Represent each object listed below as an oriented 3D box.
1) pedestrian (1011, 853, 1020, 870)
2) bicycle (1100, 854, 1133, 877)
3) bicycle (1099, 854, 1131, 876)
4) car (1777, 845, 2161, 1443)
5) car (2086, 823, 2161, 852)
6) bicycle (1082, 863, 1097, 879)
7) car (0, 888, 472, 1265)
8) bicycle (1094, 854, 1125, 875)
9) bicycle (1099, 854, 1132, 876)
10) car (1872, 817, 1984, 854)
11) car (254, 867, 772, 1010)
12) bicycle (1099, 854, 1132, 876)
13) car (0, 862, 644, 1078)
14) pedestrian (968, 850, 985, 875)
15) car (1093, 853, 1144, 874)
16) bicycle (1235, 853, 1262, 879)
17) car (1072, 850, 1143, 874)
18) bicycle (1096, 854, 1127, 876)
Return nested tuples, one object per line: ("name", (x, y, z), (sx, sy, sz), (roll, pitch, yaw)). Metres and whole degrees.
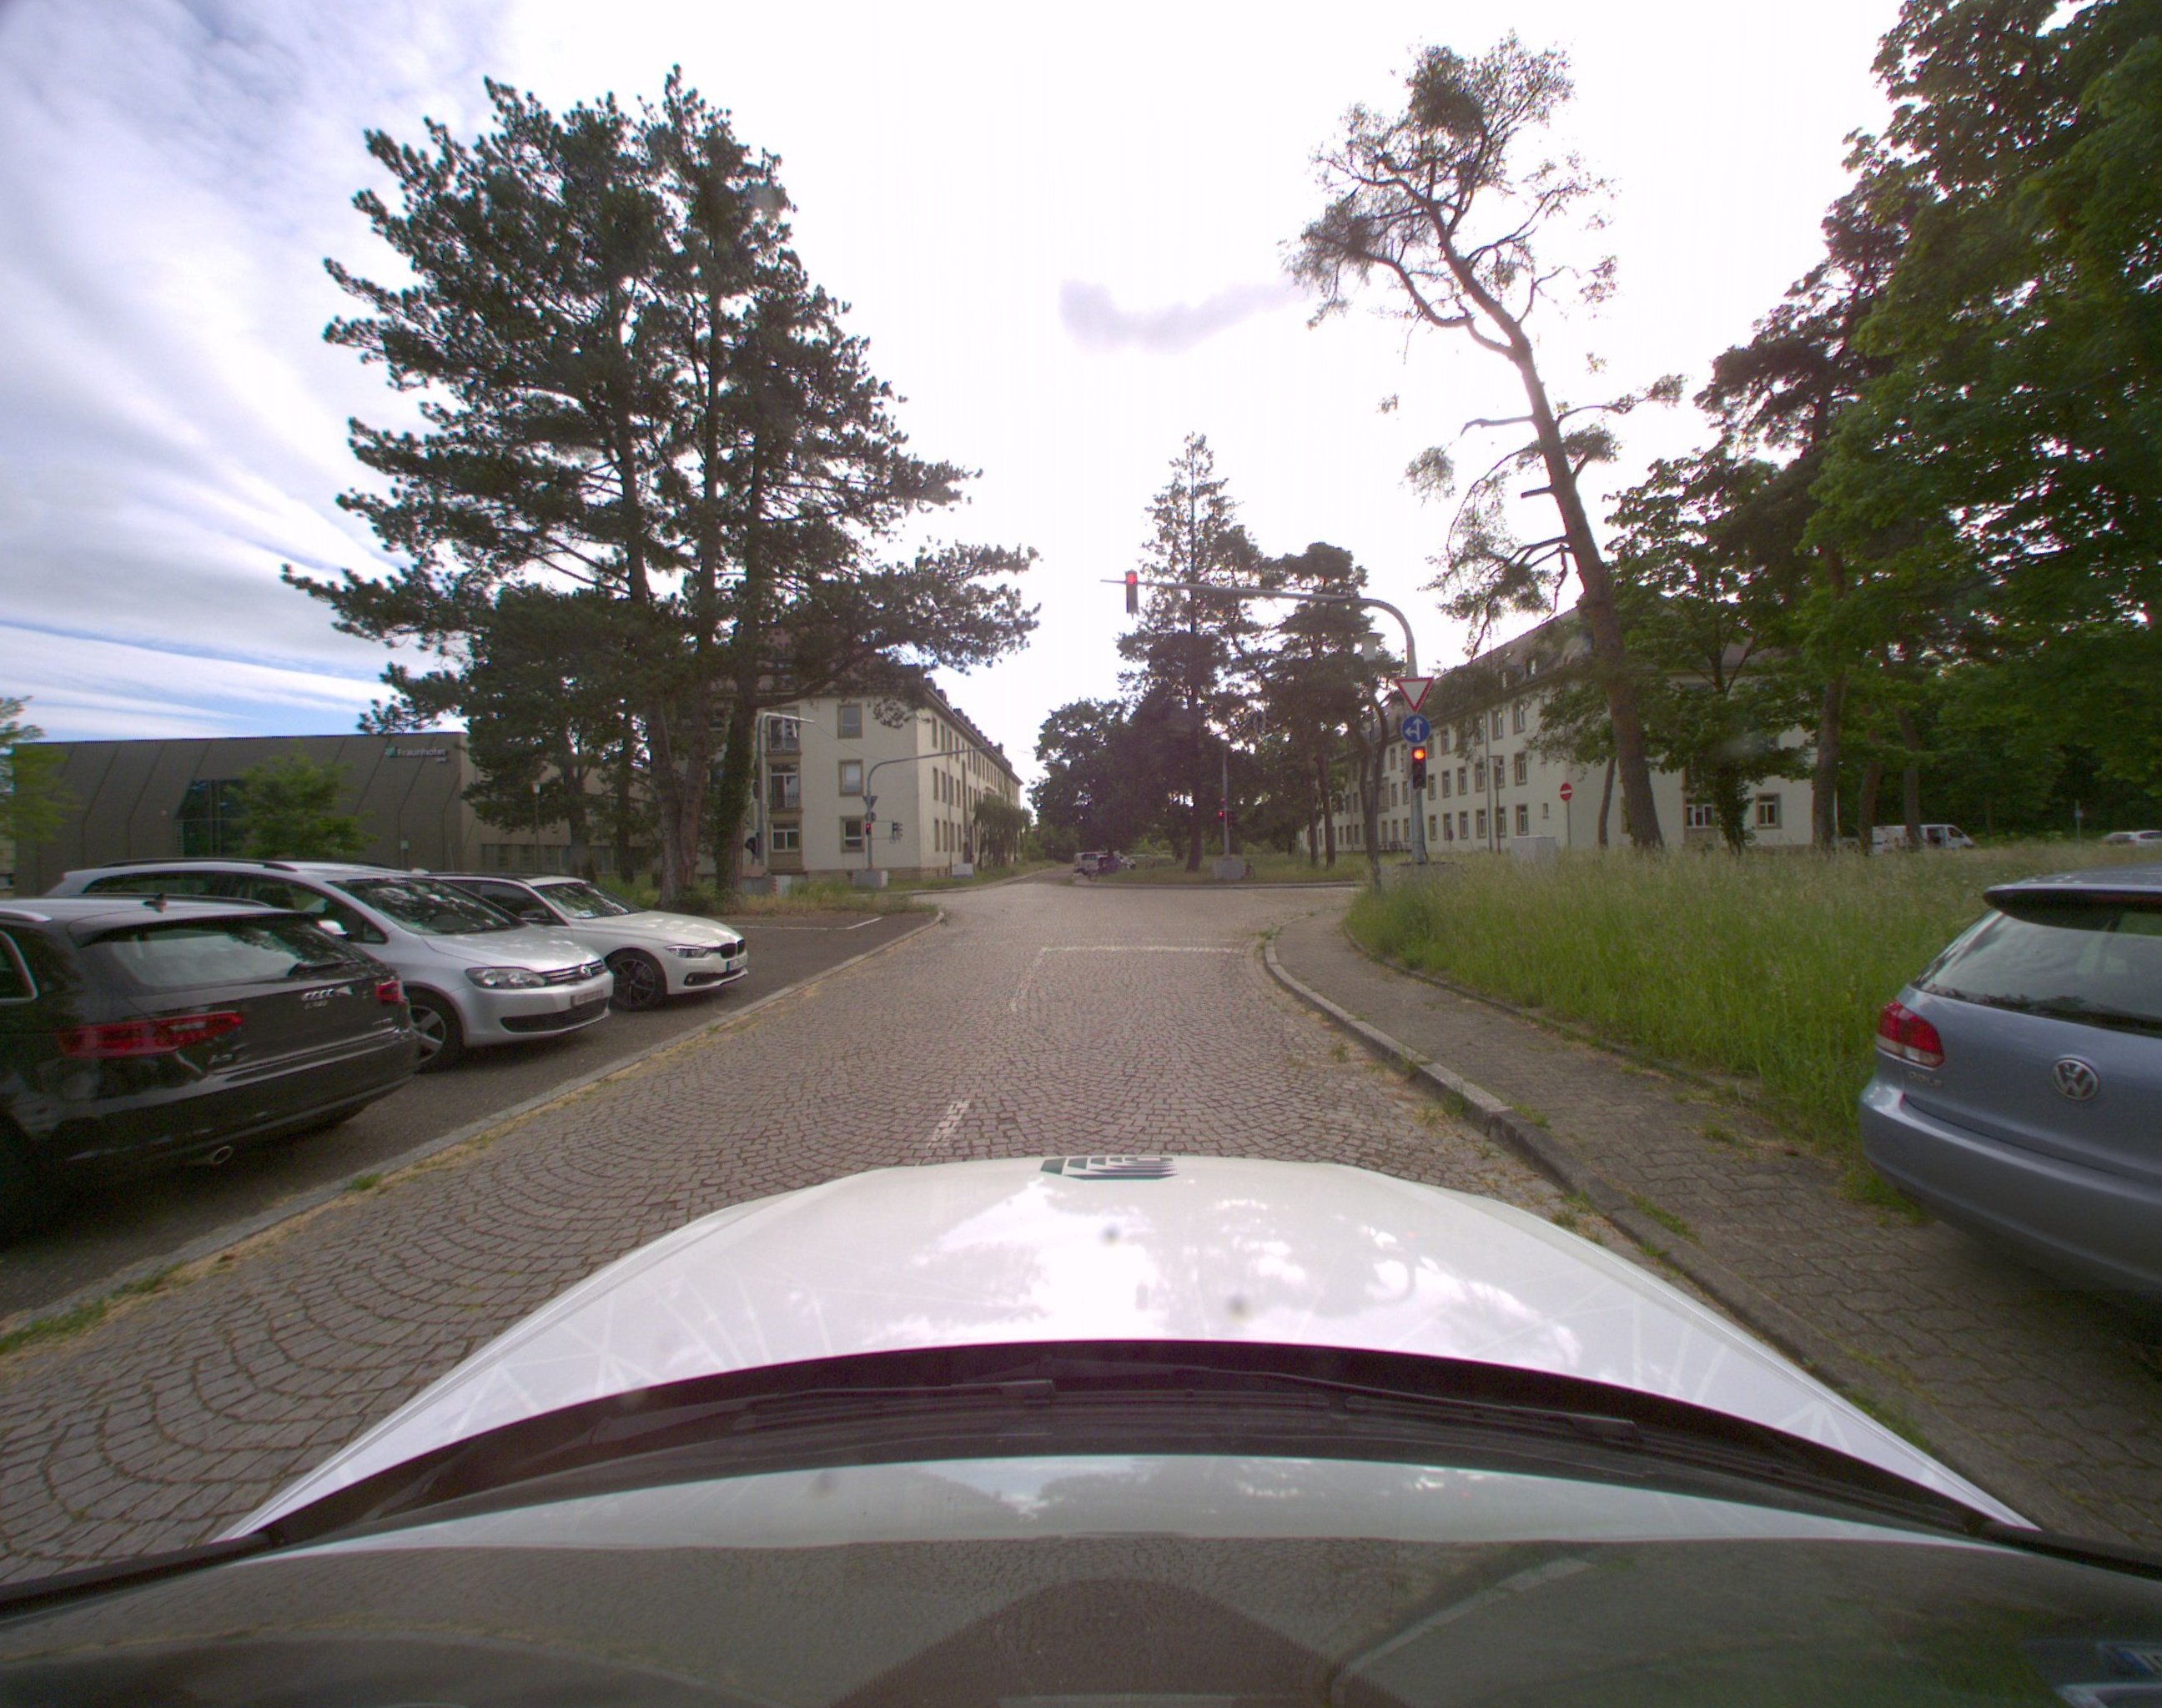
("pedestrian", (-7.953, 0.885, 98.898), (0.952, 2.013, 0.797), (-2, 0, 11))
("bicycle", (2.243, 0.707, 51.506), (2.062, 1.378, 0.620), (-2, 0, 1))
("bicycle", (2.253, 0.725, 53.599), (2.062, 1.378, 0.620), (-2, 0, 1))
("car", (4.547, 0.665, 2.304), (3.750, 1.426, 1.606), (-3, 0, 0))
("car", (57.734, -0.906, 44.321), (3.468, 1.508, 2.001), (-2, 0, 2))
("bicycle", (0.518, 1.027, 49.733), (0.614, 0.963, 2.081), (-2, 0, 8))
("car", (-5.807, 0.935, 4.186), (3.974, 1.427, 1.750), (1, 0, 0))
("bicycle", (1.945, 0.743, 55.888), (2.062, 1.378, 0.620), (-2, 0, 1))
("bicycle", (2.215, 0.713, 52.177), (2.062, 1.378, 0.620), (-2, 0, 1))
("car", (57.239, -1.237, 55.124), (5.160, 2.288, 2.215), (-2, 0, 2))
("car", (-6.264, 0.915, 9.453), (4.636, 1.444, 1.800), (1, 0, -3))
("bicycle", (2.226, 0.718, 52.802), (2.062, 1.378, 0.620), (-2, 0, 1))
("car", (-6.175, 0.868, 6.871), (3.978, 1.547, 1.722), (1, 0, -4))
("pedestrian", (-8.626, 0.657, 67.180), (1.081, 2.013, 1.023), (-2, 0, 6))
("car", (3.016, 0.791, 66.020), (3.924, 1.544, 1.997), (-2, 0, -4))
("bicycle", (8.015, 0.575, 39.142), (0.905, 1.177, 1.874), (-2, 0, 0))
("car", (2.202, 0.675, 69.404), (5.695, 1.910, 2.221), (-2, 0, -11))
("bicycle", (2.046, 0.729, 54.401), (2.062, 1.378, 0.620), (-2, 0, 1))
